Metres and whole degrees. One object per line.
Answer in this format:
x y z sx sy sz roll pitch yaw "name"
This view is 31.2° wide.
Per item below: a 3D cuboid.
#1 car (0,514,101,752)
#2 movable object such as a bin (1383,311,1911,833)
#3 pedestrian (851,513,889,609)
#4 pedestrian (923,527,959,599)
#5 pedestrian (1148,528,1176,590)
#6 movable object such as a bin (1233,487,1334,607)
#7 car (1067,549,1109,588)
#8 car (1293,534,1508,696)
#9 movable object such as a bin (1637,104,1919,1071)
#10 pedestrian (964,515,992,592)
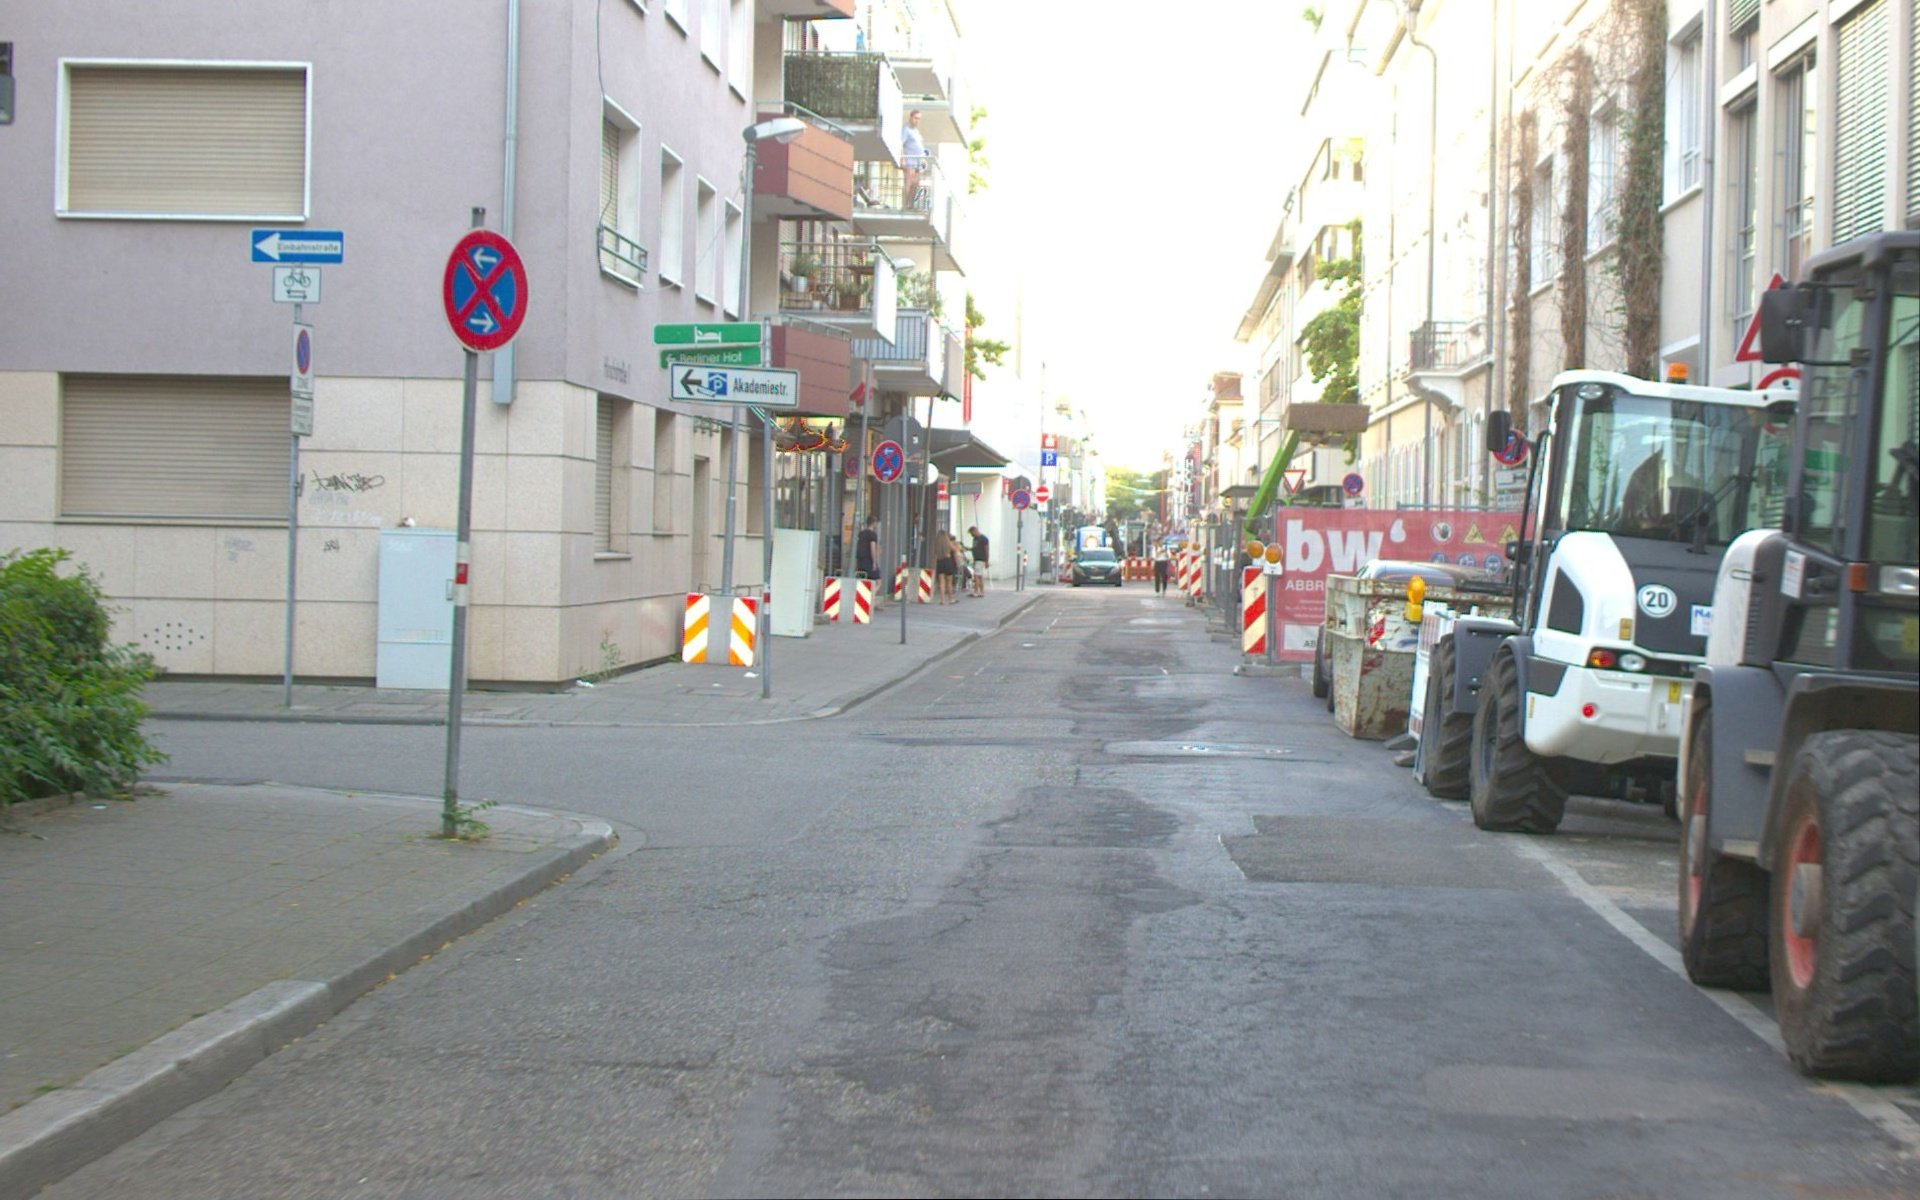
-7.884 0.167 21.973 4.345 1.453 1.686 1 1 2 "car"
3.800 -0.194 20.099 2.166 2.587 5.543 1 1 3 "movable object such as a bin"
-1.694 -0.737 64.900 0.629 1.802 0.647 1 1 4 "pedestrian"
-0.425 -0.820 75.885 0.645 1.559 0.631 1 1 -12 "pedestrian"
5.645 -1.153 96.271 0.720 1.734 0.647 1 1 1 "pedestrian"
8.775 -1.484 93.659 2.470 3.120 4.297 2 2 3 "movable object such as a bin"
4.689 -1.155 125.252 1.474 1.393 3.332 1 1 3 "car"
4.205 0.091 33.372 1.694 1.401 4.479 2 1 3 "car"
3.399 -0.058 11.333 1.796 2.625 4.110 1 1 5 "movable object such as a bin"
0.442 -1.145 84.860 0.572 1.880 0.656 1 1 8 "pedestrian"
